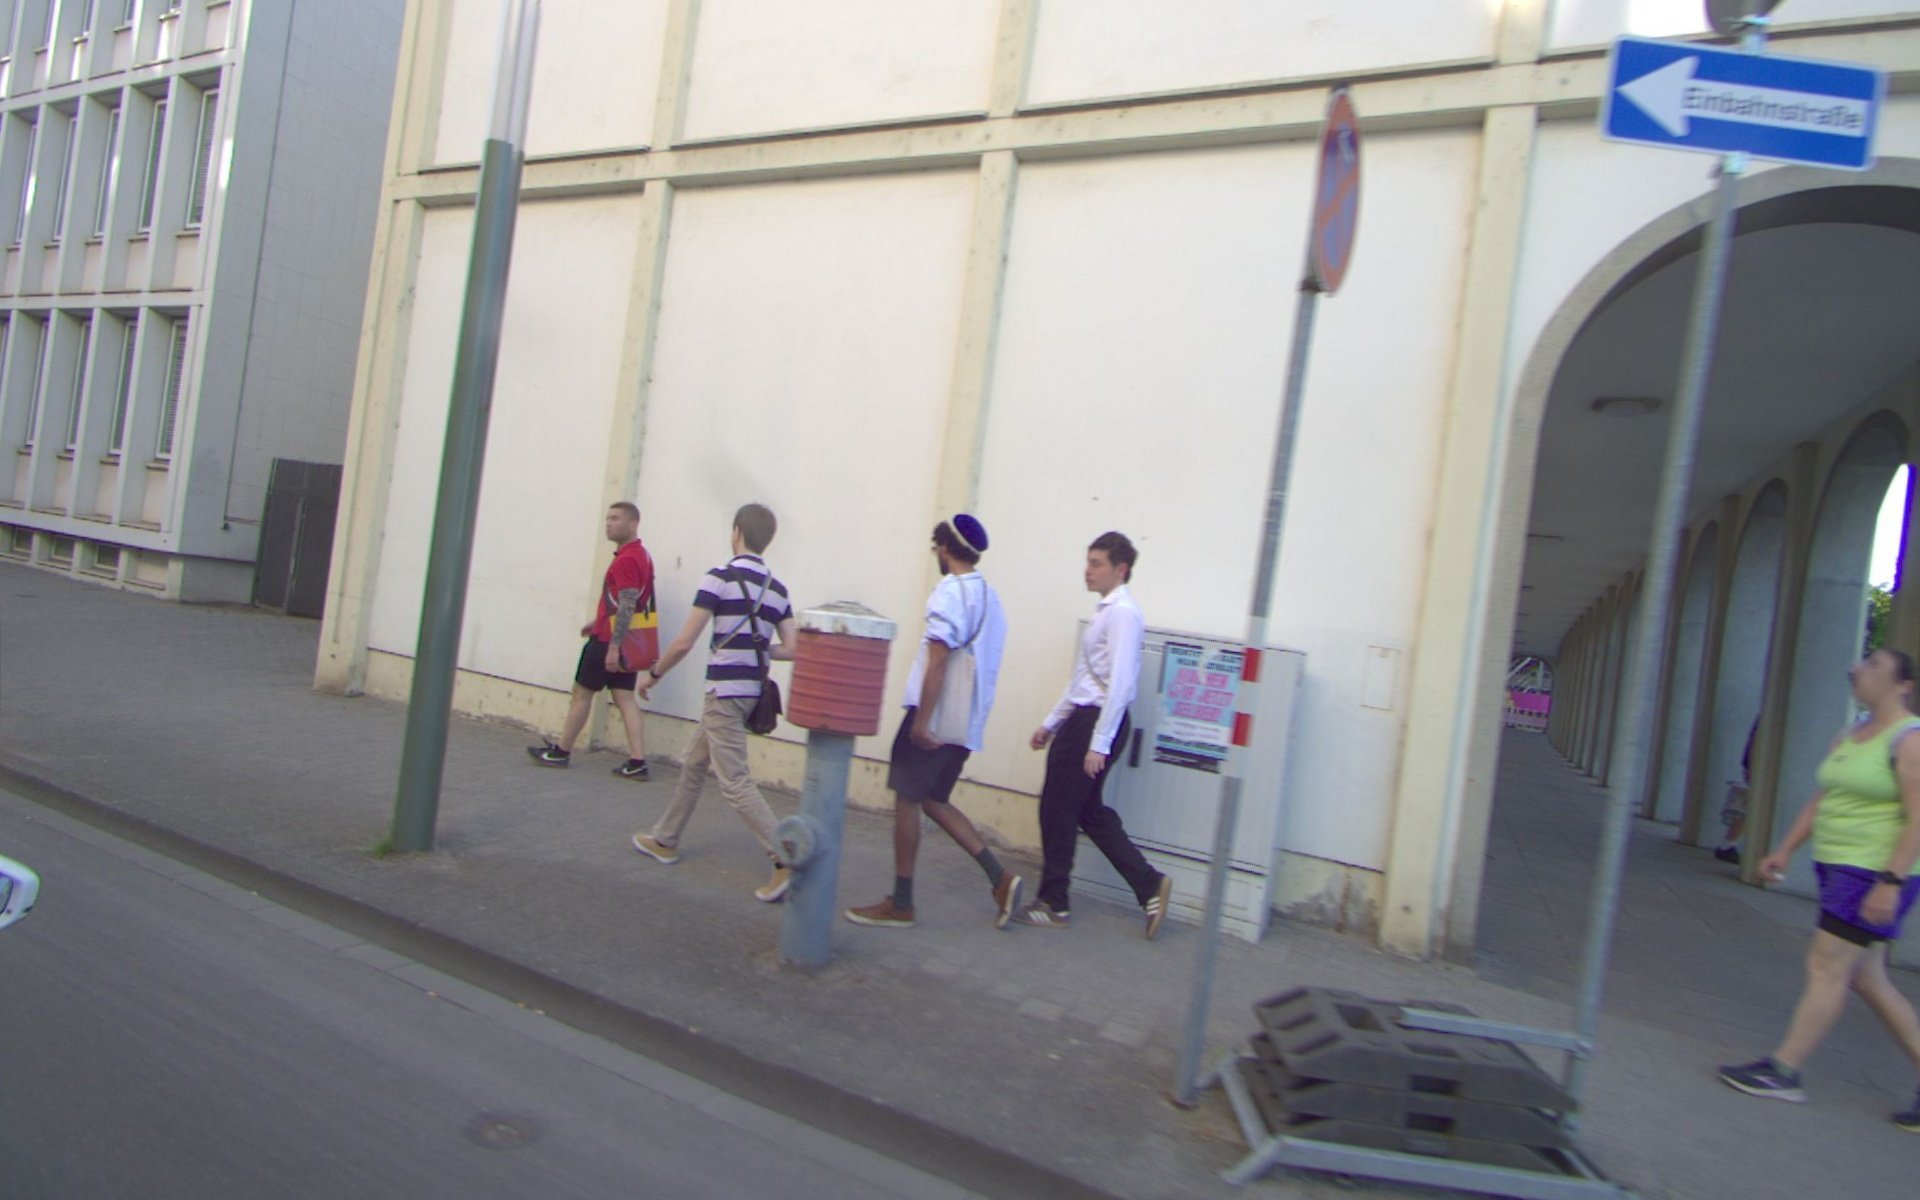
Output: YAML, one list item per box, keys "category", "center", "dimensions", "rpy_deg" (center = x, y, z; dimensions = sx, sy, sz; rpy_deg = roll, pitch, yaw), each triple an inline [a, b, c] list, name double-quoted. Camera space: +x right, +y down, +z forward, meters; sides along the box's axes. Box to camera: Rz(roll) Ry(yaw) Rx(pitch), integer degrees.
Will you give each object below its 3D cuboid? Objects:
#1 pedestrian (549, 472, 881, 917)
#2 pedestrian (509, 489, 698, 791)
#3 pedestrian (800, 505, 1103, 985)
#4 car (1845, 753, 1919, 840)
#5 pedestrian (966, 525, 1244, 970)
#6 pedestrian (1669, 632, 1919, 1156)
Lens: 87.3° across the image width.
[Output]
- category: "pedestrian"
  center: [-1.175, 0.383, 4.833]
  dimensions: [1.225, 1.826, 0.715]
  rpy_deg: [8, 3, 26]
- category: "pedestrian"
  center: [-2.359, 0.244, 6.686]
  dimensions: [0.761, 1.826, 0.710]
  rpy_deg: [8, 3, 26]
- category: "pedestrian"
  center: [-0.027, 0.558, 4.395]
  dimensions: [0.924, 1.801, 0.710]
  rpy_deg: [8, 3, 26]
- category: "car"
  center: [19.345, 3.994, 19.803]
  dimensions: [1.898, 1.483, 3.998]
  rpy_deg: [9, -2, 30]
- category: "pedestrian"
  center: [0.689, 0.618, 4.708]
  dimensions: [0.924, 1.801, 0.710]
  rpy_deg: [8, 3, 26]
- category: "pedestrian"
  center: [3.443, 1.049, 3.781]
  dimensions: [0.951, 1.733, 0.674]
  rpy_deg: [8, 3, 26]
